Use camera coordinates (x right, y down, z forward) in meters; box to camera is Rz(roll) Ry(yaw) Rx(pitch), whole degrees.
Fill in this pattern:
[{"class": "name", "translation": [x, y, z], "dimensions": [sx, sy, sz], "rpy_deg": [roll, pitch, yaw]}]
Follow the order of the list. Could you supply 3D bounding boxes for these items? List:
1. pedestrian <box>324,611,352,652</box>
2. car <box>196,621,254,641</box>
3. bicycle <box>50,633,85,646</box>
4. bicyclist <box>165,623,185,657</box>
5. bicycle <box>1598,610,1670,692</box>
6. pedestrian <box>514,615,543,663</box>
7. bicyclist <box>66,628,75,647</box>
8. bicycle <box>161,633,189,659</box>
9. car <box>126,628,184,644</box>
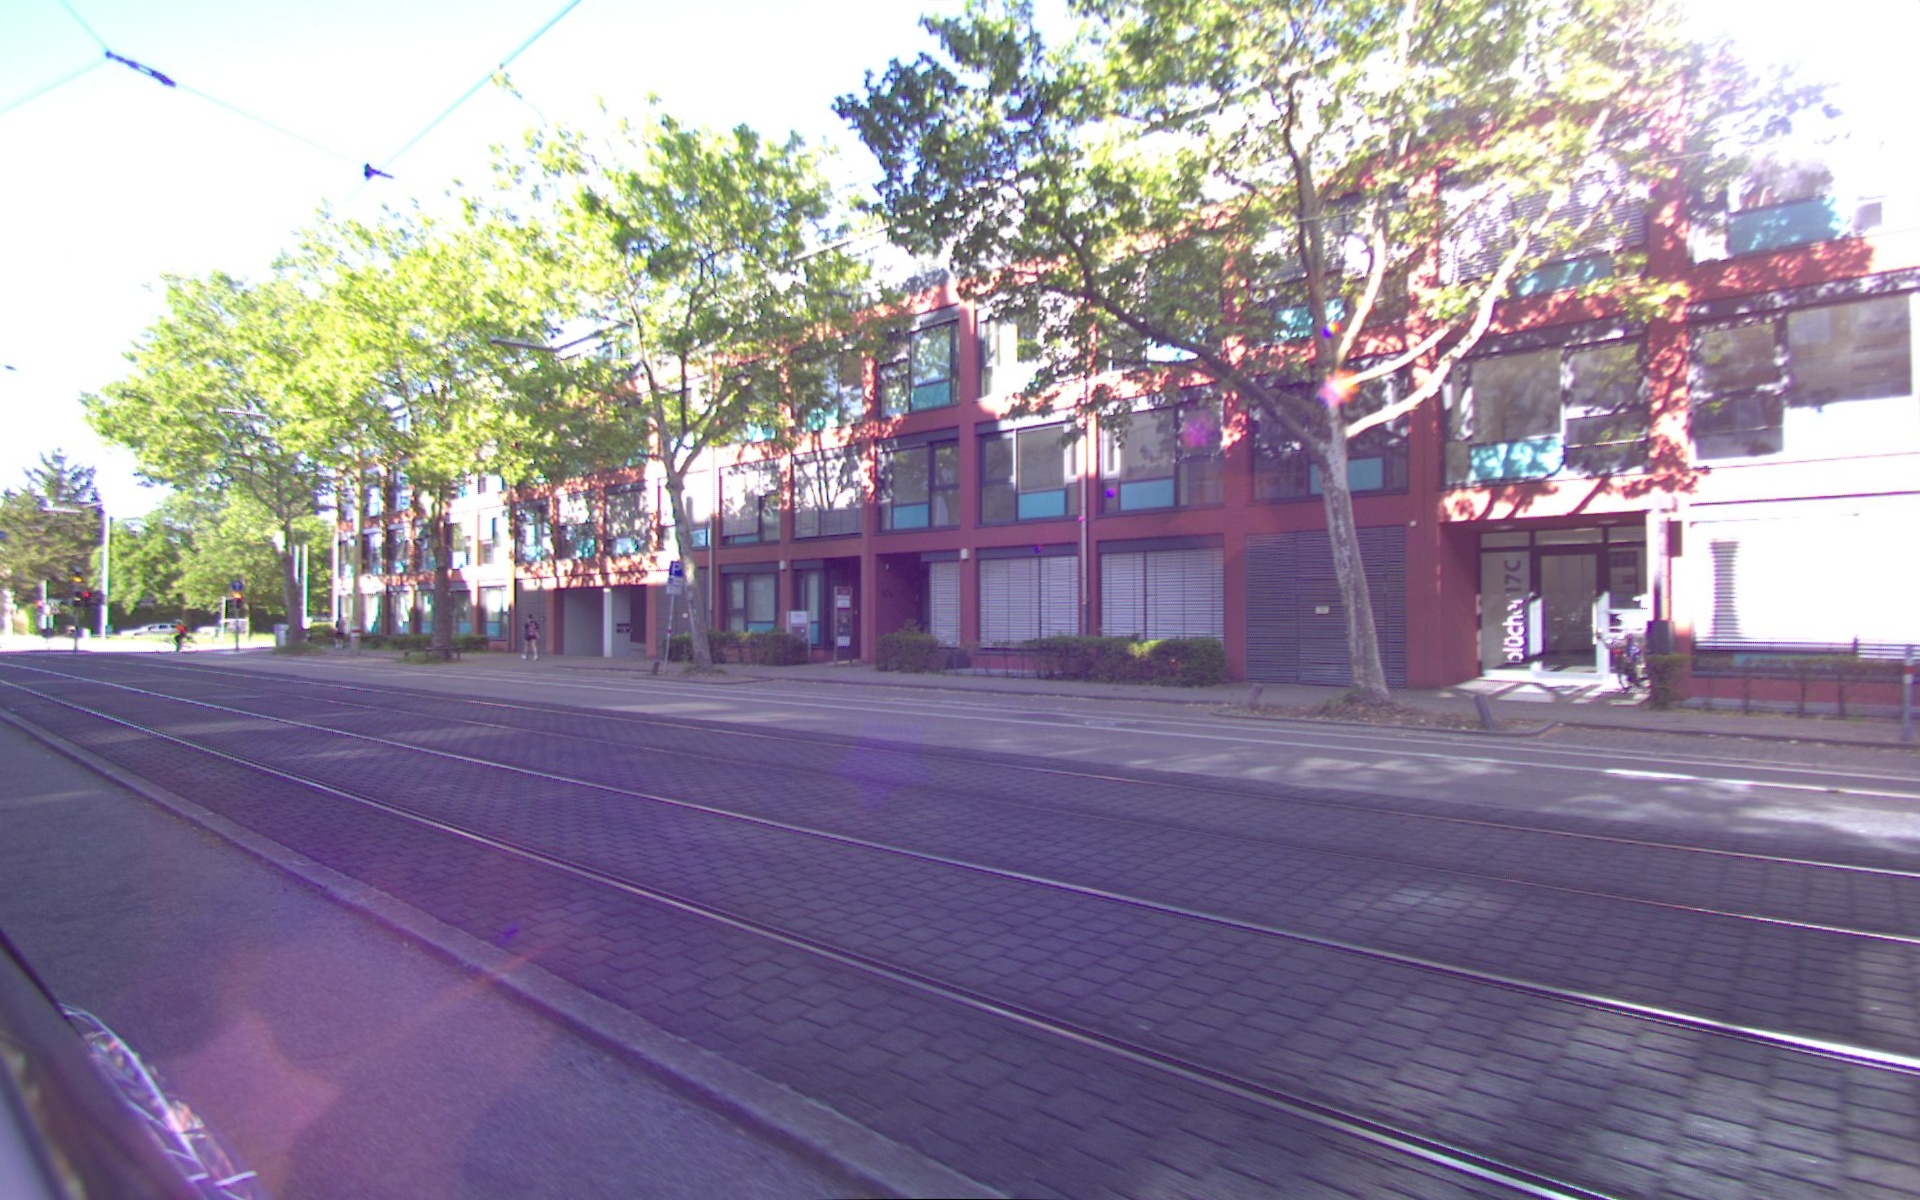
[{"class": "pedestrian", "translation": [-31.376, 1.592, 51.031], "dimensions": [0.778, 2.029, 0.903], "rpy_deg": [-2, -1, 33]}, {"class": "car", "translation": [-70.962, 2.967, 97.705], "dimensions": [1.817, 1.881, 4.253], "rpy_deg": [-2, -2, 43]}, {"class": "bicycle", "translation": [-77.554, 3.448, 87.977], "dimensions": [2.251, 1.126, 0.931], "rpy_deg": [1, -2, -41]}, {"class": "bicyclist", "translation": [-40.311, 2.068, 51.969], "dimensions": [0.596, 1.705, 0.935], "rpy_deg": [-2, 0, -24]}, {"class": "bicycle", "translation": [11.722, 0.853, 17.570], "dimensions": [2.038, 1.282, 0.619], "rpy_deg": [-2, 0, -45]}, {"class": "pedestrian", "translation": [-16.053, 1.451, 37.634], "dimensions": [0.900, 1.731, 0.619], "rpy_deg": [-2, -1, 40]}, {"class": "bicyclist", "translation": [-77.448, 3.241, 88.072], "dimensions": [0.551, 1.635, 0.899], "rpy_deg": [1, -2, -41]}, {"class": "bicycle", "translation": [-40.321, 2.354, 51.990], "dimensions": [0.623, 1.138, 2.042], "rpy_deg": [-3, 3, -23]}, {"class": "car", "translation": [-73.007, 3.236, 91.800], "dimensions": [3.939, 1.444, 1.818], "rpy_deg": [1, -2, -43]}]
